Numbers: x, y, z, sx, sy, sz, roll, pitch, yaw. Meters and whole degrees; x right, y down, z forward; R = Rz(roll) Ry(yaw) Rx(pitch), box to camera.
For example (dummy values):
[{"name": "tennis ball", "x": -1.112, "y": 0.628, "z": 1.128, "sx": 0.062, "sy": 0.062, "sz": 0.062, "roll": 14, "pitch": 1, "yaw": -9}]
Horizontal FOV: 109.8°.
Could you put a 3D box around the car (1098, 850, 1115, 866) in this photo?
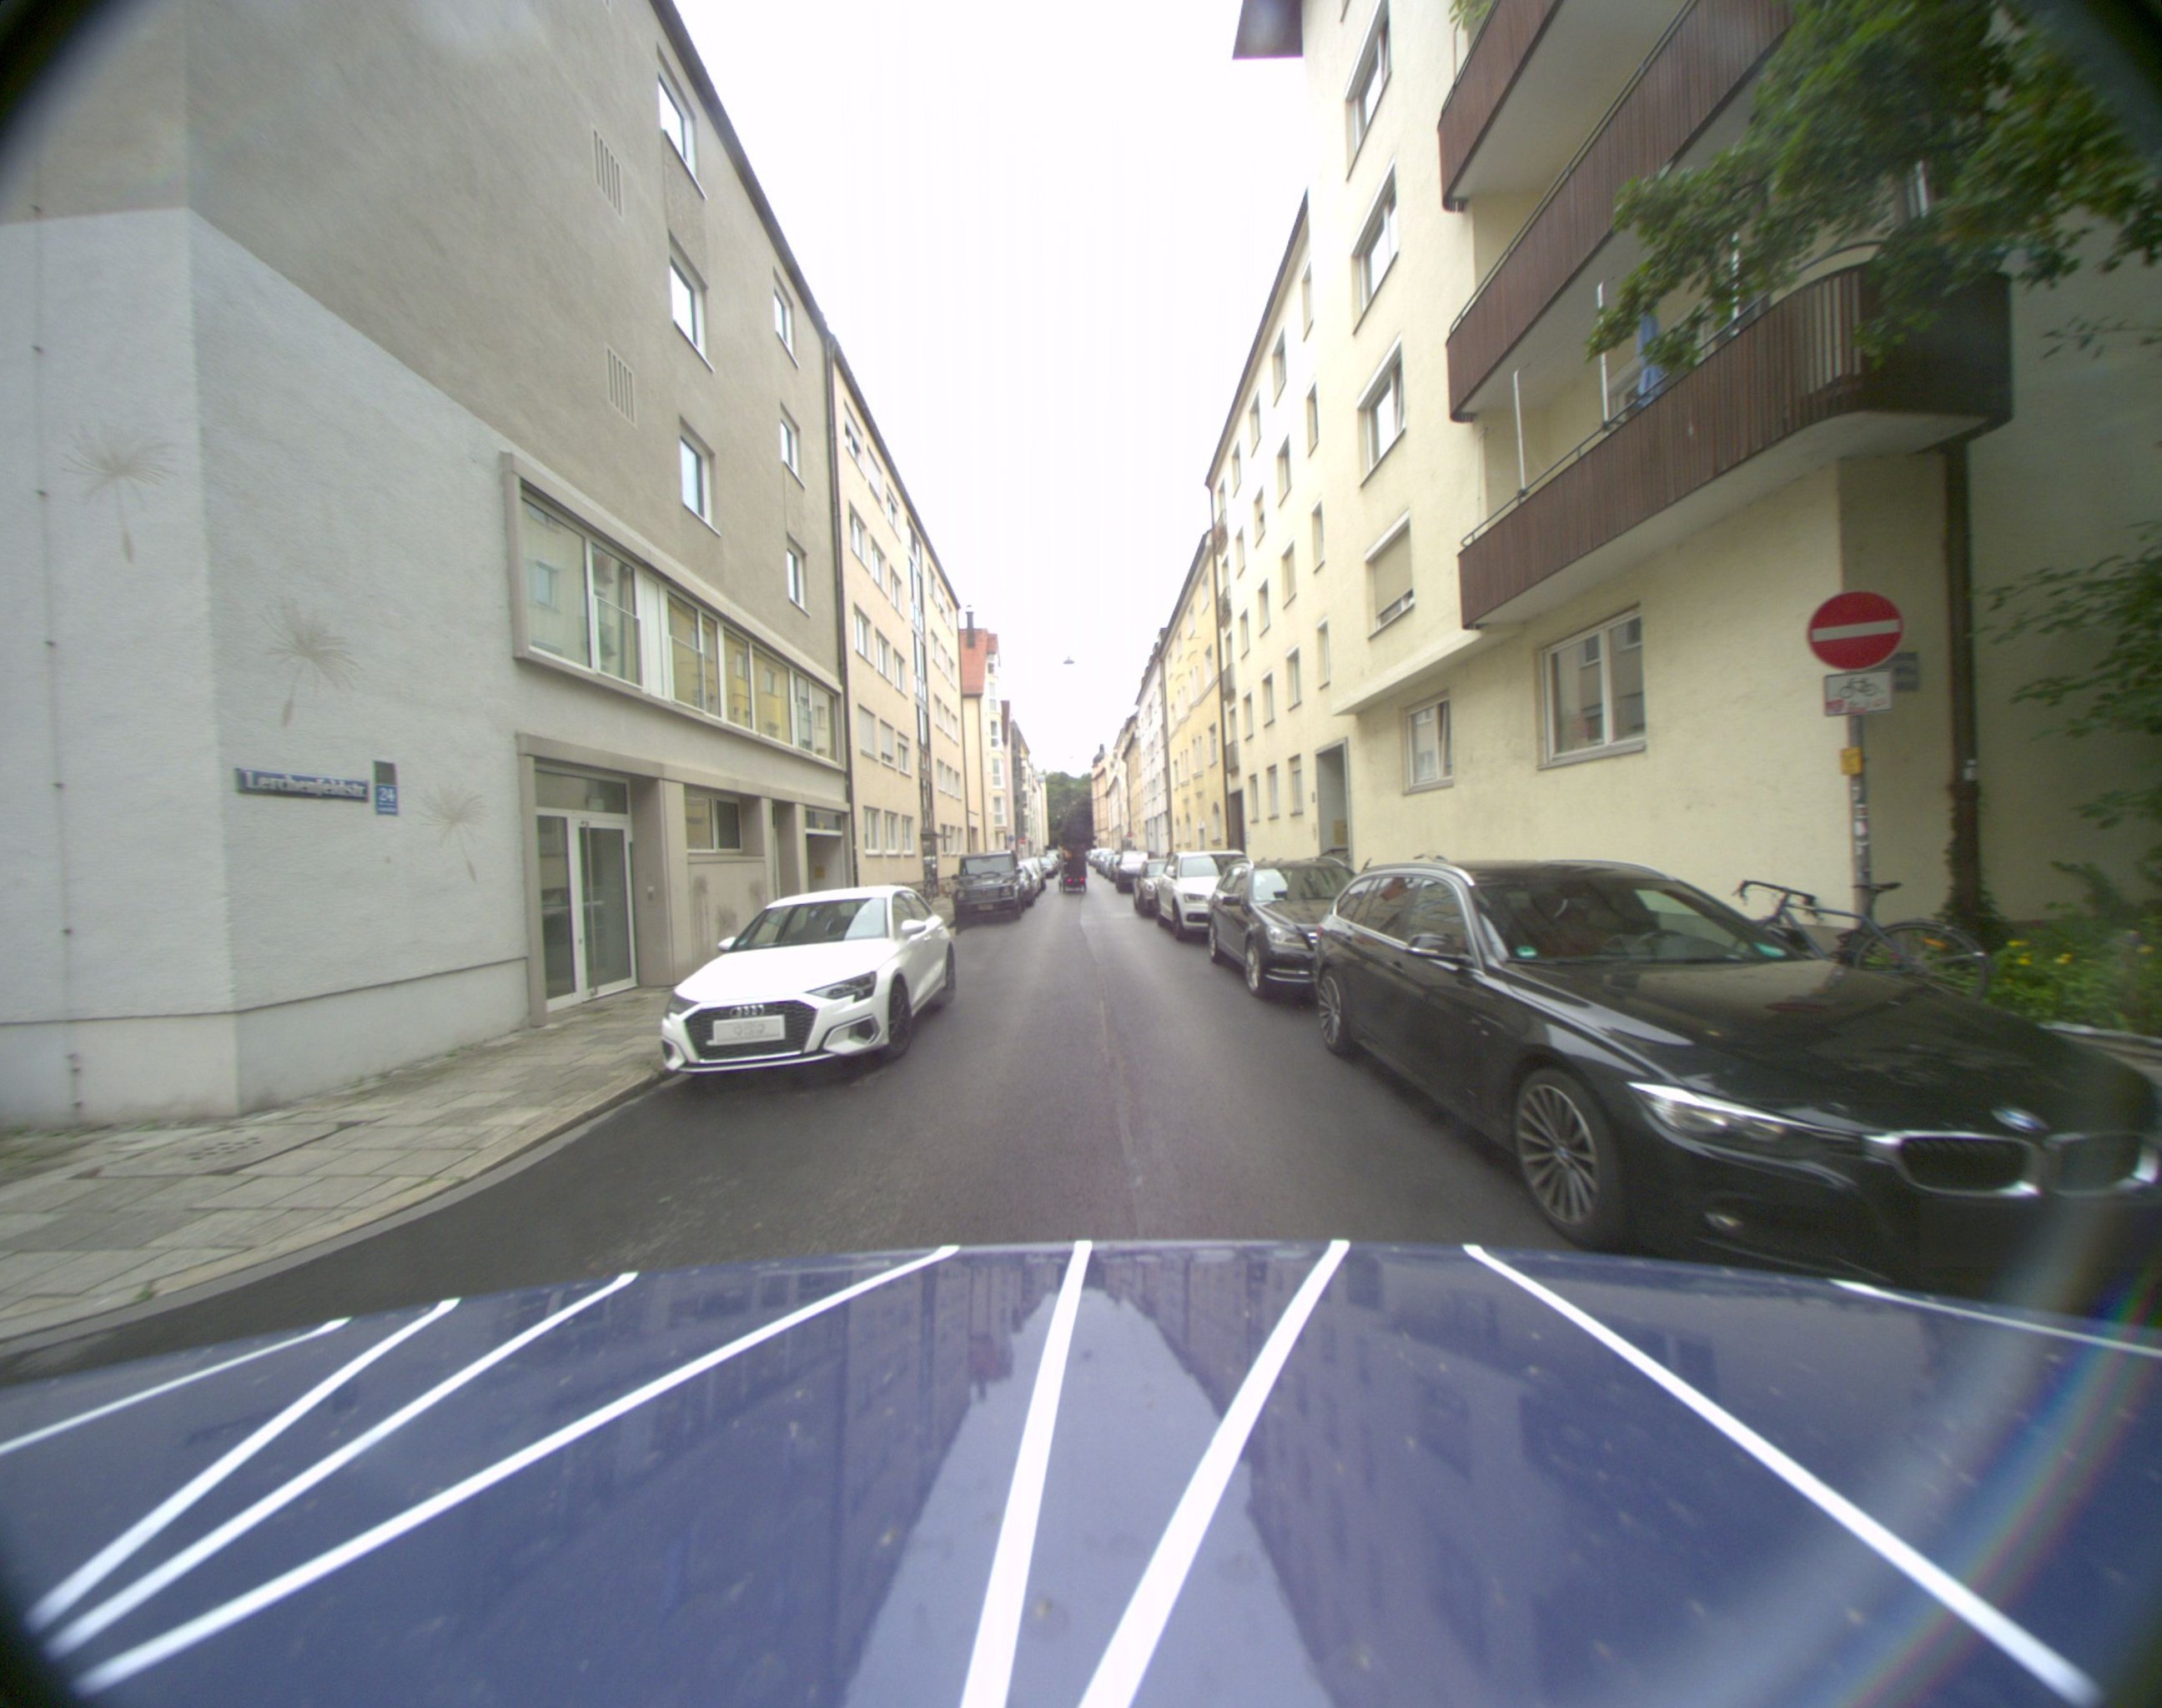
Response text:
[{"name": "car", "x": 2.591, "y": 0.394, "z": 77.943, "sx": 1.676, "sy": 1.467, "sz": 4.111, "roll": -1, "pitch": 1, "yaw": 0}]

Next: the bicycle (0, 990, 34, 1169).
[{"name": "bicycle", "x": -7.771, "y": 1.496, "z": 4.710, "sx": 1.801, "sy": 1.109, "sz": 0.465, "roll": -4, "pitch": 1, "yaw": -1}]

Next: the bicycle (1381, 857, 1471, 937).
[{"name": "bicycle", "x": 5.521, "y": 0.654, "z": 12.263, "sx": 0.647, "sy": 1.155, "sz": 1.789, "roll": -1, "pitch": 1, "yaw": 1}]

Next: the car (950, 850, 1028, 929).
[{"name": "car", "x": -2.601, "y": 0.943, "z": 22.387, "sx": 1.755, "sy": 1.964, "sz": 4.342, "roll": -5, "pitch": 0, "yaw": -2}]

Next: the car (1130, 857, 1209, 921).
[{"name": "car", "x": 2.263, "y": 0.855, "z": 20.342, "sx": 1.656, "sy": 1.427, "sz": 3.802, "roll": -2, "pitch": 1, "yaw": 0}]

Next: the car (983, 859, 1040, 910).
[{"name": "car", "x": -2.454, "y": 1.039, "z": 27.632, "sx": 1.716, "sy": 1.477, "sz": 4.242, "roll": -4, "pitch": 1, "yaw": -2}]

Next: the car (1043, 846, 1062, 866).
[{"name": "car", "x": -3.072, "y": 0.188, "z": 83.395, "sx": 1.878, "sy": 2.002, "sz": 5.105, "roll": -4, "pitch": 1, "yaw": -1}]

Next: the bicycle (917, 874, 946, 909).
[{"name": "bicycle", "x": -5.199, "y": 1.281, "z": 26.549, "sx": 0.656, "sy": 1.100, "sz": 1.760, "roll": 1, "pitch": 1, "yaw": -1}]

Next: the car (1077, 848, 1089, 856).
[{"name": "car", "x": 0.375, "y": -0.400, "z": 155.147, "sx": 1.800, "sy": 1.501, "sz": 3.995, "roll": -1, "pitch": 1, "yaw": -11}]

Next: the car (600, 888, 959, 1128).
[{"name": "car", "x": -2.453, "y": 1.179, "z": 7.369, "sx": 1.823, "sy": 1.400, "sz": 3.951, "roll": -4, "pitch": 0, "yaw": 0}]

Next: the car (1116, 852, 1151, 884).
[{"name": "car", "x": 2.568, "y": 0.649, "z": 37.705, "sx": 1.566, "sy": 1.452, "sz": 3.475, "roll": -2, "pitch": 1, "yaw": 2}]

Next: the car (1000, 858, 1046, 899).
[{"name": "car", "x": -2.464, "y": 1.007, "z": 32.903, "sx": 1.716, "sy": 1.477, "sz": 4.242, "roll": -4, "pitch": 1, "yaw": -2}]

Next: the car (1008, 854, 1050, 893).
[{"name": "car", "x": -2.519, "y": 0.908, "z": 37.536, "sx": 1.716, "sy": 1.599, "sz": 4.243, "roll": -4, "pitch": 1, "yaw": -1}]

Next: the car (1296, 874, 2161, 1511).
[{"name": "car", "x": 2.683, "y": 0.901, "z": 4.061, "sx": 1.860, "sy": 1.400, "sz": 4.383, "roll": -2, "pitch": 0, "yaw": 1}]

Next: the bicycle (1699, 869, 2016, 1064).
[{"name": "bicycle", "x": 5.561, "y": 0.719, "z": 5.627, "sx": 0.536, "sy": 1.155, "sz": 1.789, "roll": -1, "pitch": 1, "yaw": 1}]

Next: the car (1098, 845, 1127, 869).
[{"name": "car", "x": 2.410, "y": 0.200, "z": 58.448, "sx": 1.868, "sy": 1.760, "sz": 4.734, "roll": -1, "pitch": 1, "yaw": -2}]

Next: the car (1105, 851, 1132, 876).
[{"name": "car", "x": 2.361, "y": 0.570, "z": 48.507, "sx": 1.566, "sy": 1.452, "sz": 3.404, "roll": -2, "pitch": 1, "yaw": 2}]

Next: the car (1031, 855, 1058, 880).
[{"name": "car", "x": -2.607, "y": 0.919, "z": 53.624, "sx": 1.721, "sy": 1.463, "sz": 4.529, "roll": -4, "pitch": 1, "yaw": -3}]

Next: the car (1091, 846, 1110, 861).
[{"name": "car", "x": 2.164, "y": -0.055, "z": 86.816, "sx": 1.786, "sy": 1.596, "sz": 4.306, "roll": -1, "pitch": 0, "yaw": -4}]

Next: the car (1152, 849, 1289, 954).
[{"name": "car", "x": 2.535, "y": 0.786, "z": 14.857, "sx": 1.770, "sy": 1.666, "sz": 4.366, "roll": -2, "pitch": 1, "yaw": -1}]

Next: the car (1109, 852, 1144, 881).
[{"name": "car", "x": 2.499, "y": 0.649, "z": 42.449, "sx": 1.567, "sy": 1.452, "sz": 3.763, "roll": -2, "pitch": 1, "yaw": -1}]

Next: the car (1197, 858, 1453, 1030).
[{"name": "car", "x": 2.618, "y": 0.858, "z": 9.301, "sx": 1.770, "sy": 1.475, "sz": 4.423, "roll": -2, "pitch": 1, "yaw": 1}]

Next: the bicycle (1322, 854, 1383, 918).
[{"name": "bicycle", "x": 5.324, "y": 0.597, "z": 15.004, "sx": 0.582, "sy": 1.155, "sz": 1.789, "roll": -1, "pitch": 1, "yaw": 1}]

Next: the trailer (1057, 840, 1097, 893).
[{"name": "trailer", "x": -0.201, "y": 0.498, "z": 32.909, "sx": 1.359, "sy": 2.104, "sz": 3.316, "roll": -3, "pitch": 1, "yaw": -4}]

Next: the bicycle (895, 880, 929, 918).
[{"name": "bicycle", "x": -5.249, "y": 1.381, "z": 23.655, "sx": 0.646, "sy": 1.023, "sz": 1.796, "roll": 1, "pitch": 1, "yaw": -1}]

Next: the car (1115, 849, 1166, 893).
[{"name": "car", "x": 2.441, "y": 0.675, "z": 32.219, "sx": 1.884, "sy": 1.650, "sz": 4.414, "roll": -2, "pitch": 1, "yaw": 2}]

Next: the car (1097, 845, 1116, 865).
[{"name": "car", "x": 2.445, "y": 0.102, "z": 72.155, "sx": 1.728, "sy": 1.779, "sz": 4.248, "roll": -1, "pitch": 2, "yaw": 1}]
